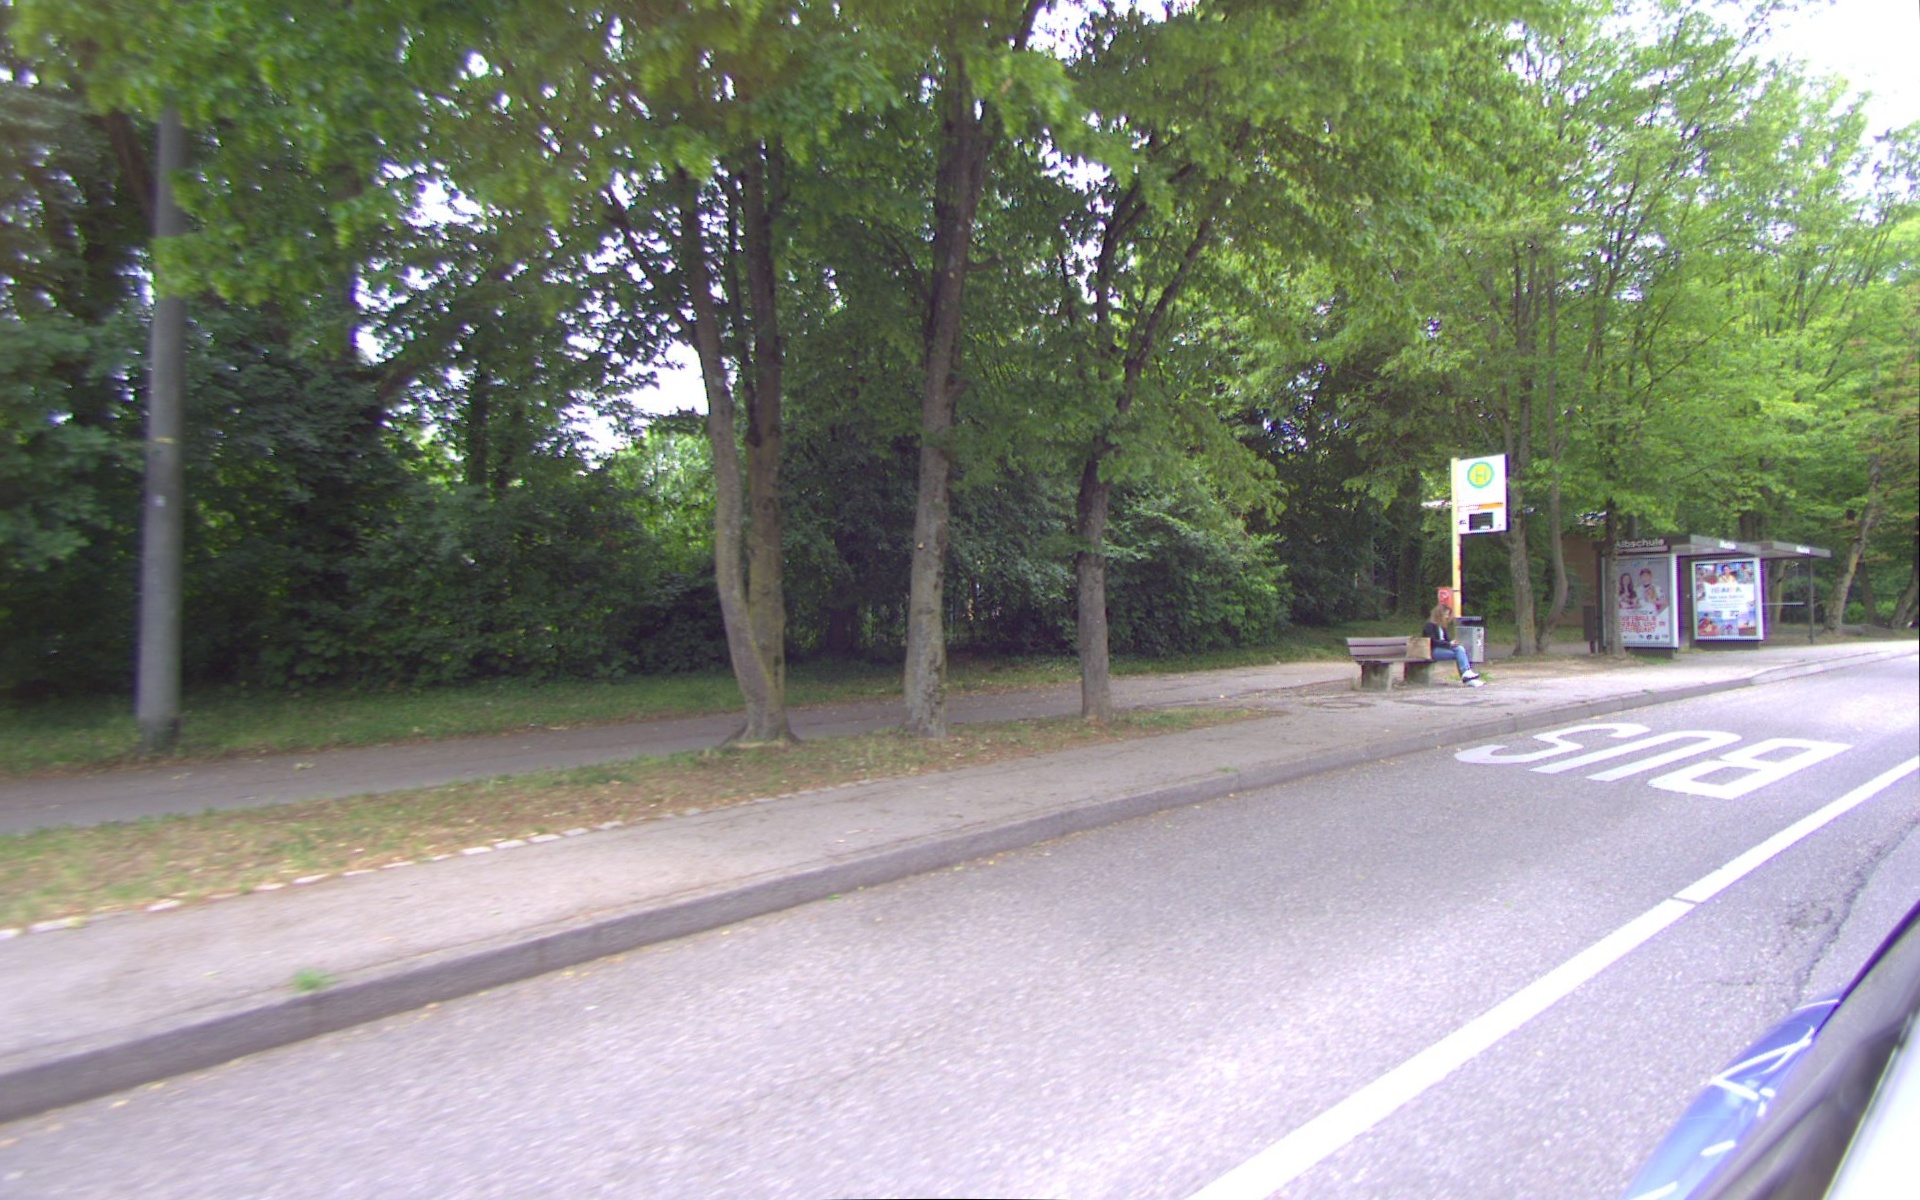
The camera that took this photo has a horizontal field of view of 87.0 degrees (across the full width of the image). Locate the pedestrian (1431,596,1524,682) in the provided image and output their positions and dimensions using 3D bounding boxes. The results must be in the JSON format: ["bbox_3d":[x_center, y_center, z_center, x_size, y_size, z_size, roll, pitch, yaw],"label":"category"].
[{"bbox_3d":[7.545,0.549,14.776,0.570,1.197,1.065,0,0,-40],"label":"pedestrian"}]
